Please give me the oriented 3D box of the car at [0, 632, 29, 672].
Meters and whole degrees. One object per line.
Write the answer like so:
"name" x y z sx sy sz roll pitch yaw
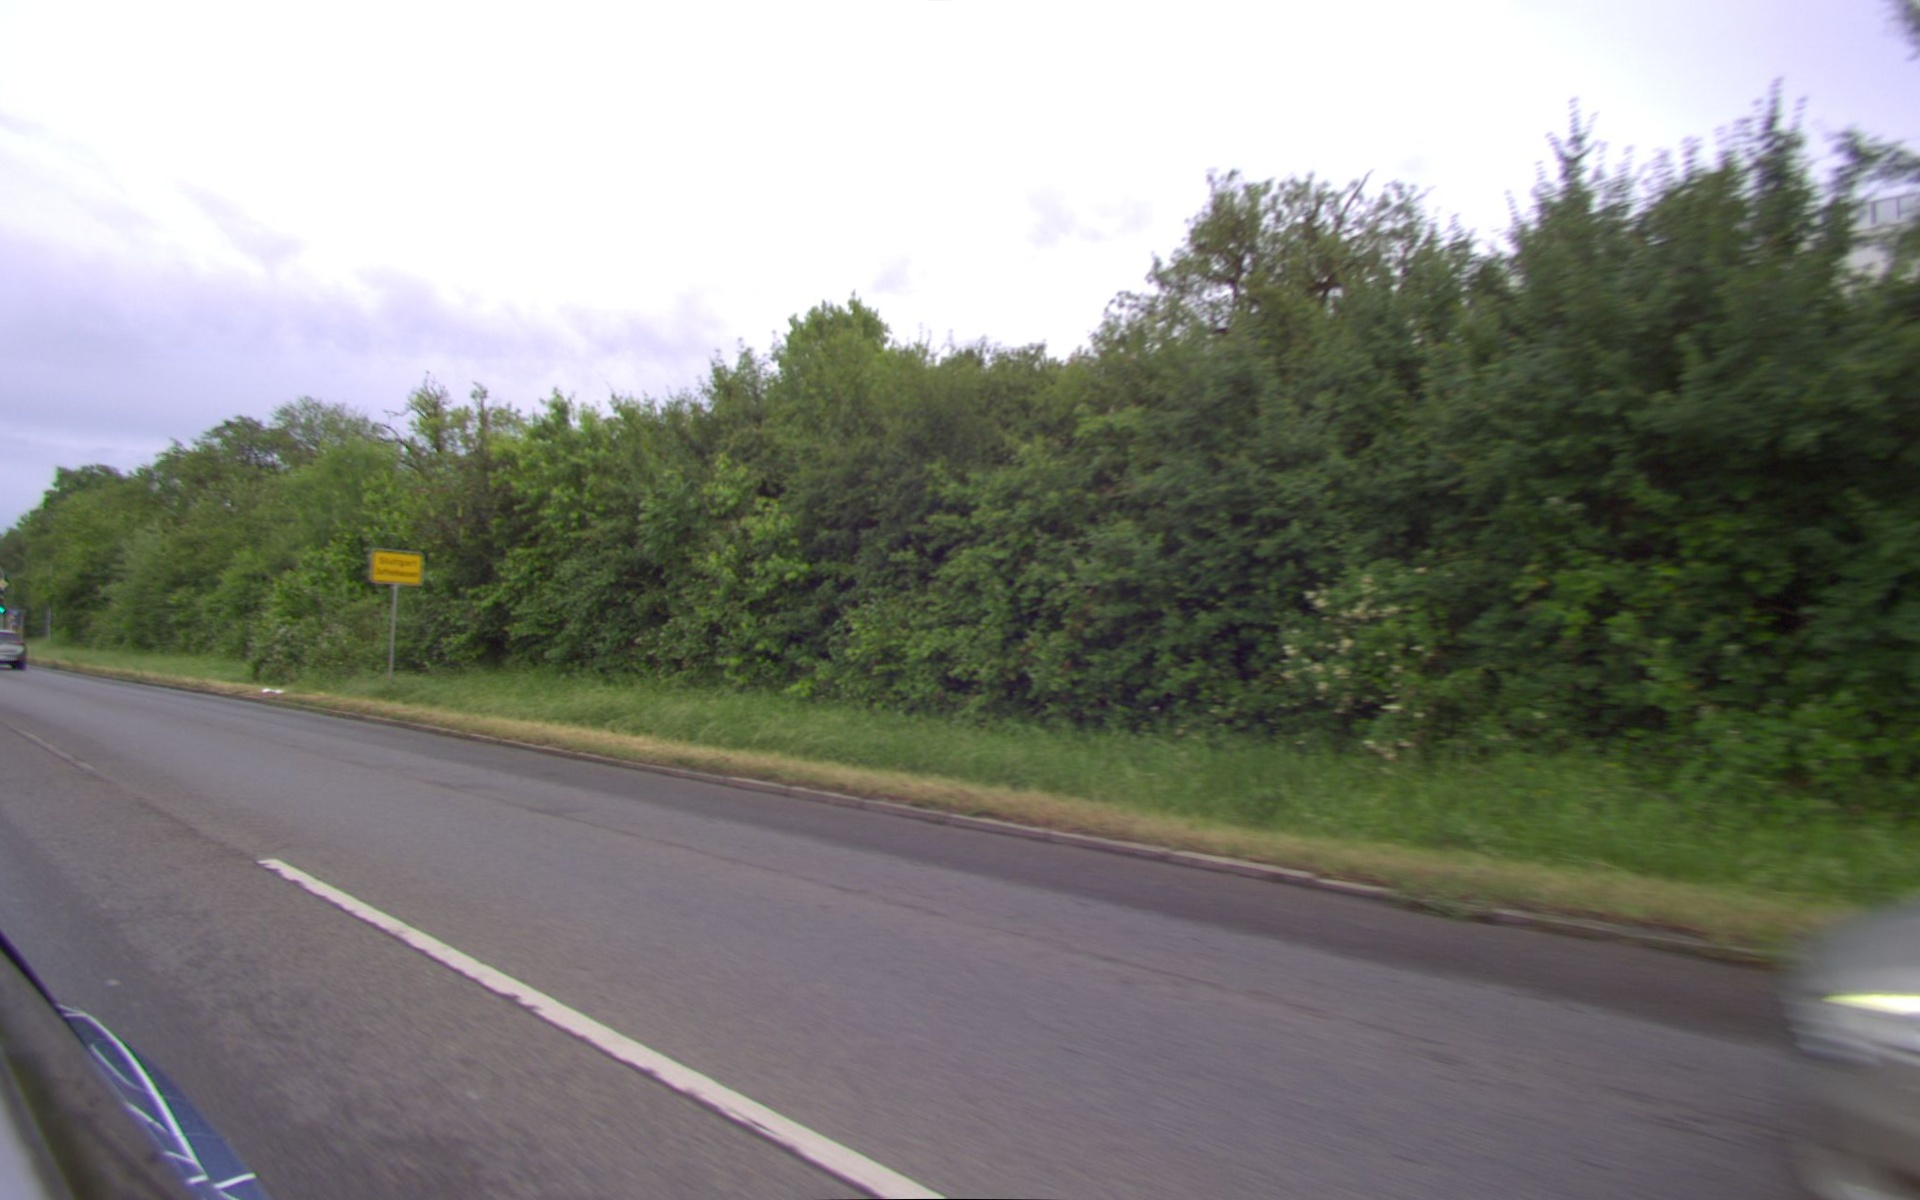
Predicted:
"car" -35.954 1.899 37.444 4.177 1.443 1.783 -2 -4 42
